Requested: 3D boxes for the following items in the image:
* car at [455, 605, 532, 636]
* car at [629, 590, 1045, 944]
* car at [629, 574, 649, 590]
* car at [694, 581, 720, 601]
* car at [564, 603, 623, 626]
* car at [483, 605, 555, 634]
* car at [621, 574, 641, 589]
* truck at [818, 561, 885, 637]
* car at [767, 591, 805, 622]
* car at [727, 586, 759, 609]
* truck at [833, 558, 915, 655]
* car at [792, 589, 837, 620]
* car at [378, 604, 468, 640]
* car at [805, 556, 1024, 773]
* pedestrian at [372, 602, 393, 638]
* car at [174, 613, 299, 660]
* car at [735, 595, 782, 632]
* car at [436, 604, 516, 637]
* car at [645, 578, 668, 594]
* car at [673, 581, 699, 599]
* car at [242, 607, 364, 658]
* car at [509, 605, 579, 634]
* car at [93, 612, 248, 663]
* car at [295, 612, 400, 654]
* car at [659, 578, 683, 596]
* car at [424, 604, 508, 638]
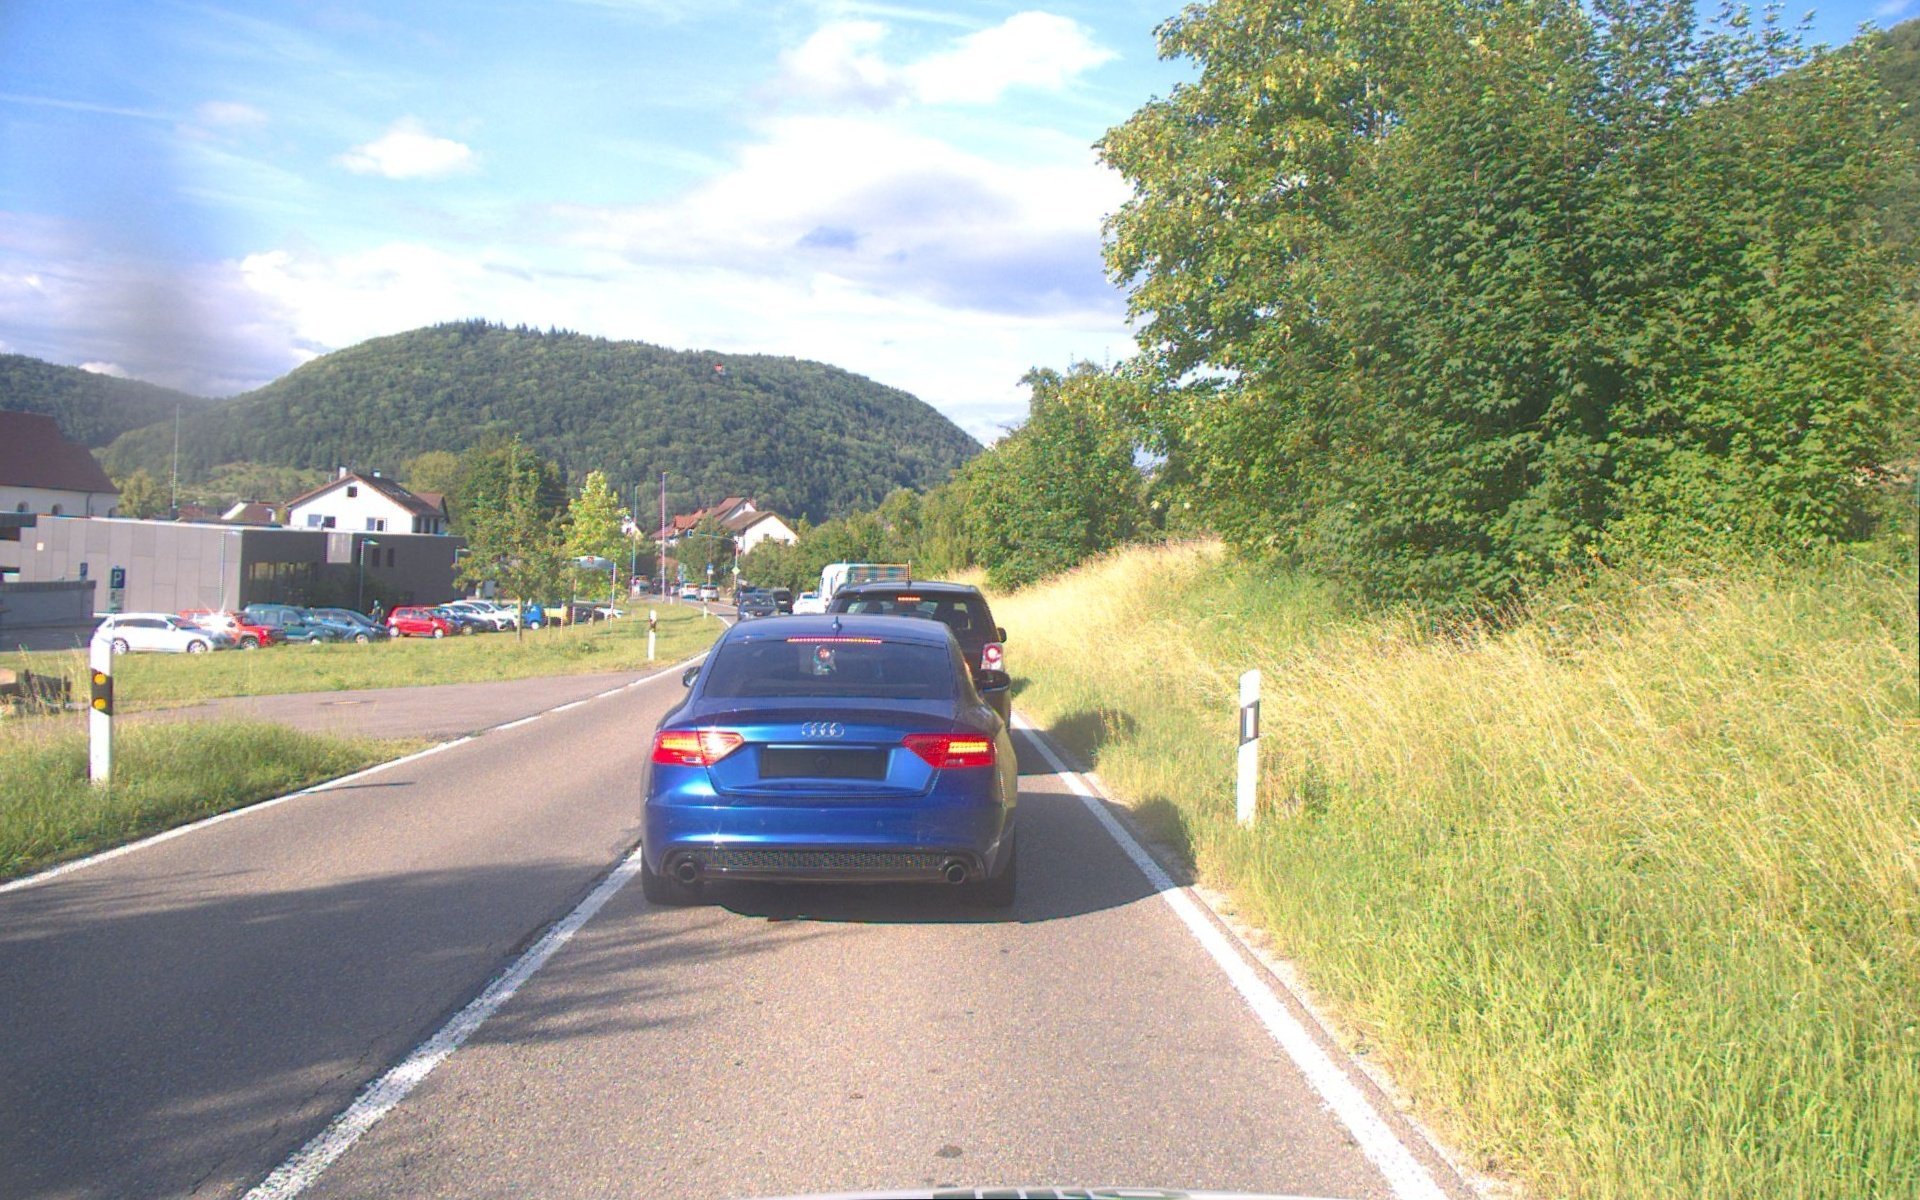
[{"bbox_3d":[-27.009,1.170,95.758,3.908,1.741,1.999,1,0,-3],"label":"car"},{"bbox_3d":[-0.513,0.708,8.848,1.718,1.455,3.846,1,0,0],"label":"car"},{"bbox_3d":[-37.337,-2.105,192.399,1.817,1.742,3.978,1,0,-19],"label":"car"},{"bbox_3d":[-22.751,-0.790,148.555,1.816,1.742,3.982,1,0,-16],"label":"car"},{"bbox_3d":[-26.253,1.054,118.580,3.908,1.606,1.751,1,0,-3],"label":"car"},{"bbox_3d":[-27.054,1.199,101.544,3.908,1.741,1.999,1,0,-3],"label":"car"},{"bbox_3d":[-39.979,-2.182,201.033,1.817,1.742,3.978,1,0,-19],"label":"car"},{"bbox_3d":[-4.067,-0.031,60.959,2.187,2.615,6.698,1,0,-6],"label":"truck"},{"bbox_3d":[-10.366,0.380,98.409,1.813,1.742,3.988,1,0,-12],"label":"car"},{"bbox_3d":[-16.621,-0.201,126.624,1.816,1.742,3.982,1,0,-16],"label":"car"},{"bbox_3d":[-2.478,0.186,48.331,2.185,2.615,6.100,1,0,-2],"label":"truck"},{"bbox_3d":[-7.545,0.240,85.385,1.813,1.508,3.988,1,0,-12],"label":"car"},{"bbox_3d":[-27.321,1.106,84.237,3.908,1.741,1.999,1,0,-3],"label":"car"},{"bbox_3d":[-0.364,0.525,15.148,1.718,1.710,3.846,1,0,0],"label":"car"},{"bbox_3d":[-32.712,1.123,93.654,0.808,2.049,0.973,1,-1,-1],"label":"pedestrian"},{"bbox_3d":[-27.798,1.395,63.645,3.908,1.741,1.999,1,0,-3],"label":"car"},{"bbox_3d":[-8.272,0.541,67.658,1.673,1.455,4.040,1,0,-10],"label":"car"},{"bbox_3d":[-27.051,1.153,92.473,3.908,1.741,1.999,1,0,-3],"label":"car"},{"bbox_3d":[-33.235,-1.507,181.053,1.817,1.742,3.978,1,0,-19],"label":"car"},{"bbox_3d":[-26.439,-0.962,159.603,1.817,1.742,3.978,1,0,-19],"label":"car"},{"bbox_3d":[-27.515,1.359,69.365,4.319,2.043,1.999,1,0,-3],"label":"car"},{"bbox_3d":[-26.199,1.228,104.216,3.908,1.741,1.999,1,0,-3],"label":"car"},{"bbox_3d":[-28.820,1.361,60.487,4.637,1.741,1.999,1,0,-3],"label":"car"},{"bbox_3d":[-27.187,1.456,73.503,3.908,1.741,1.999,1,0,-3],"label":"car"},{"bbox_3d":[-29.823,-1.354,170.687,1.817,1.742,3.978,1,0,-19],"label":"car"},{"bbox_3d":[-26.518,1.143,88.827,3.908,1.741,1.999,1,0,-3],"label":"car"}]
